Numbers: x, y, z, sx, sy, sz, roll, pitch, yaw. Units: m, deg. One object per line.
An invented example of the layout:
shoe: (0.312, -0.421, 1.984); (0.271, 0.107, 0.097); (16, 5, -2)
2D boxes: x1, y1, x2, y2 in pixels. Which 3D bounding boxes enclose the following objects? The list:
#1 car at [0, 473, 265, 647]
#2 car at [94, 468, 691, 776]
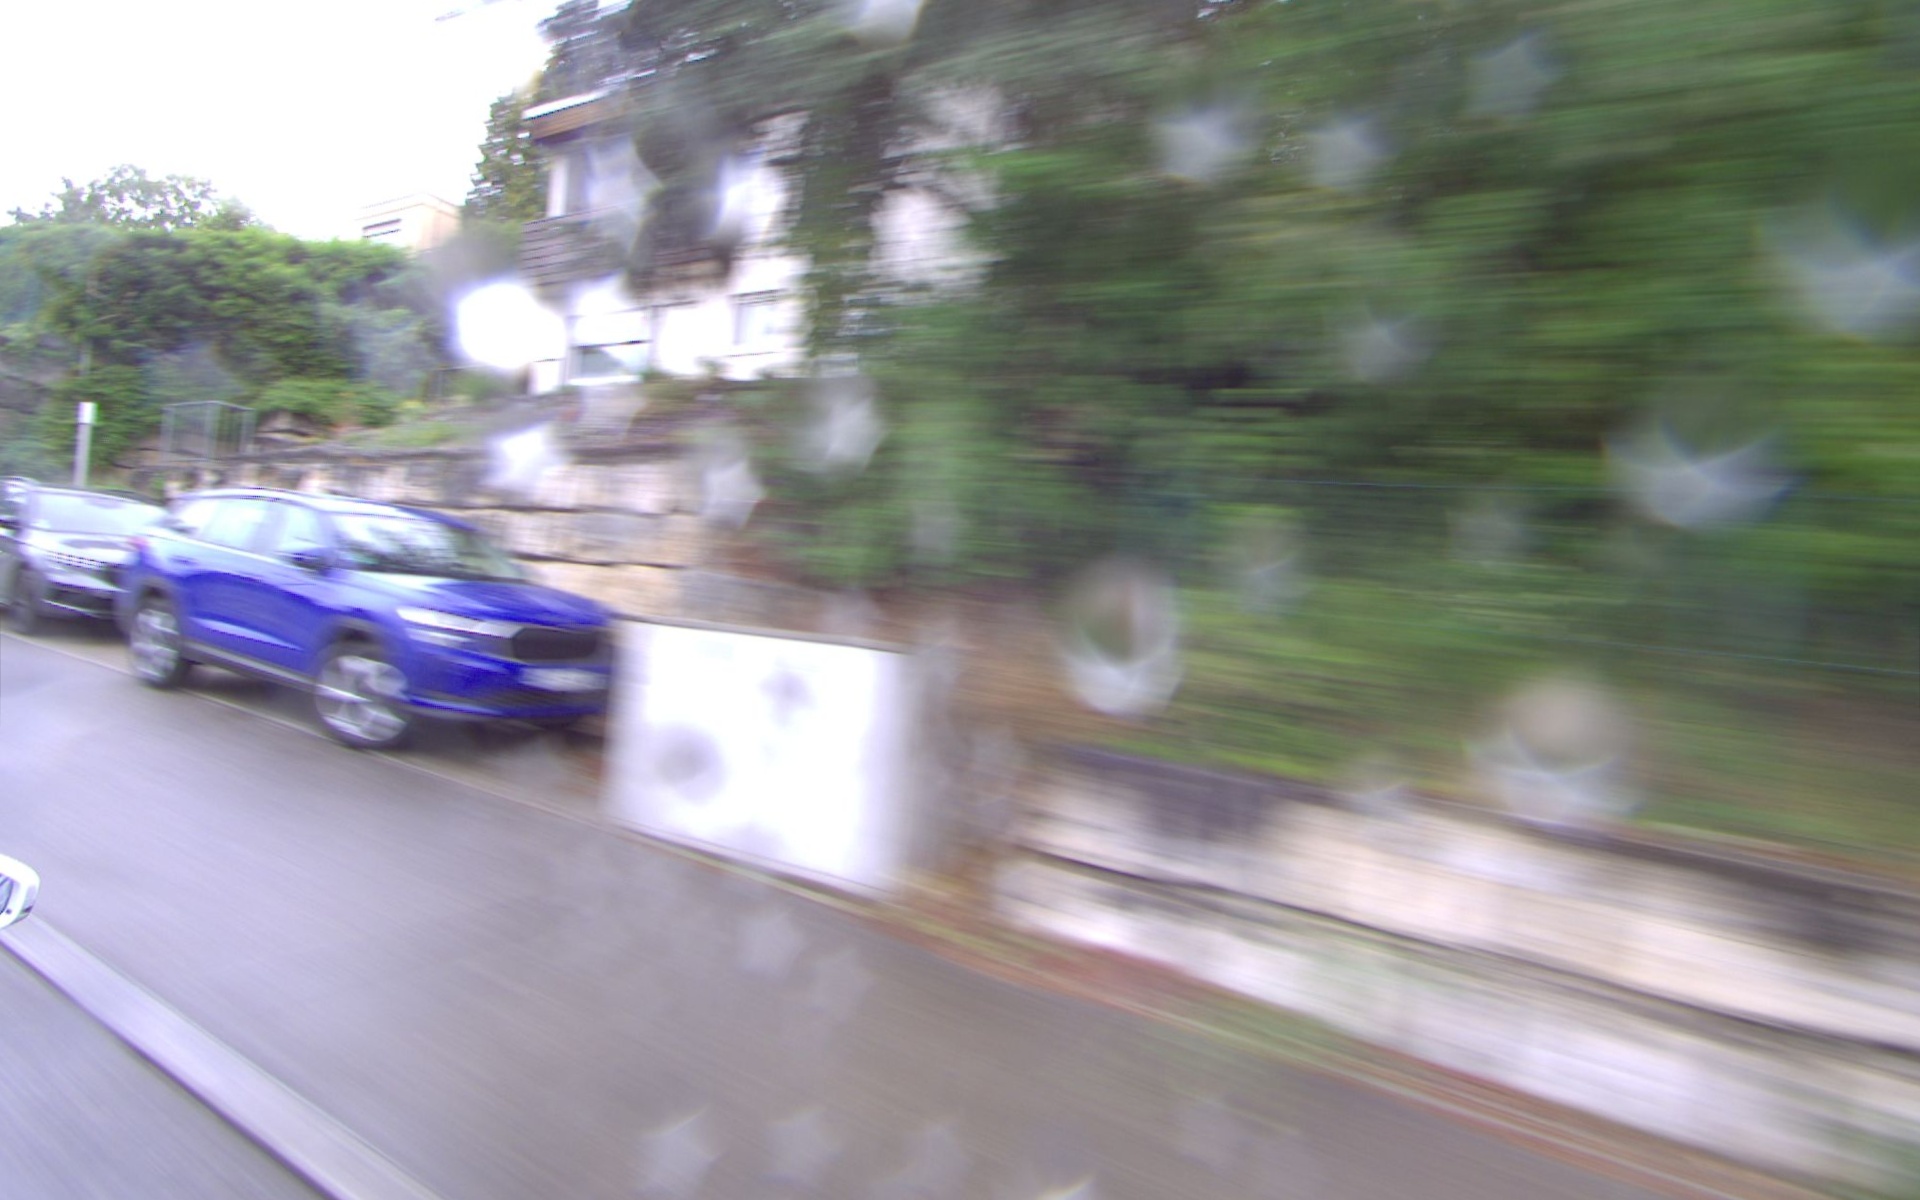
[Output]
car: (-9.741, -0.505, 11.190); (3.943, 1.584, 1.811); (7, 2, 31)
car: (-4.549, 0.029, 7.935); (4.466, 1.692, 1.995); (6, 2, 29)
